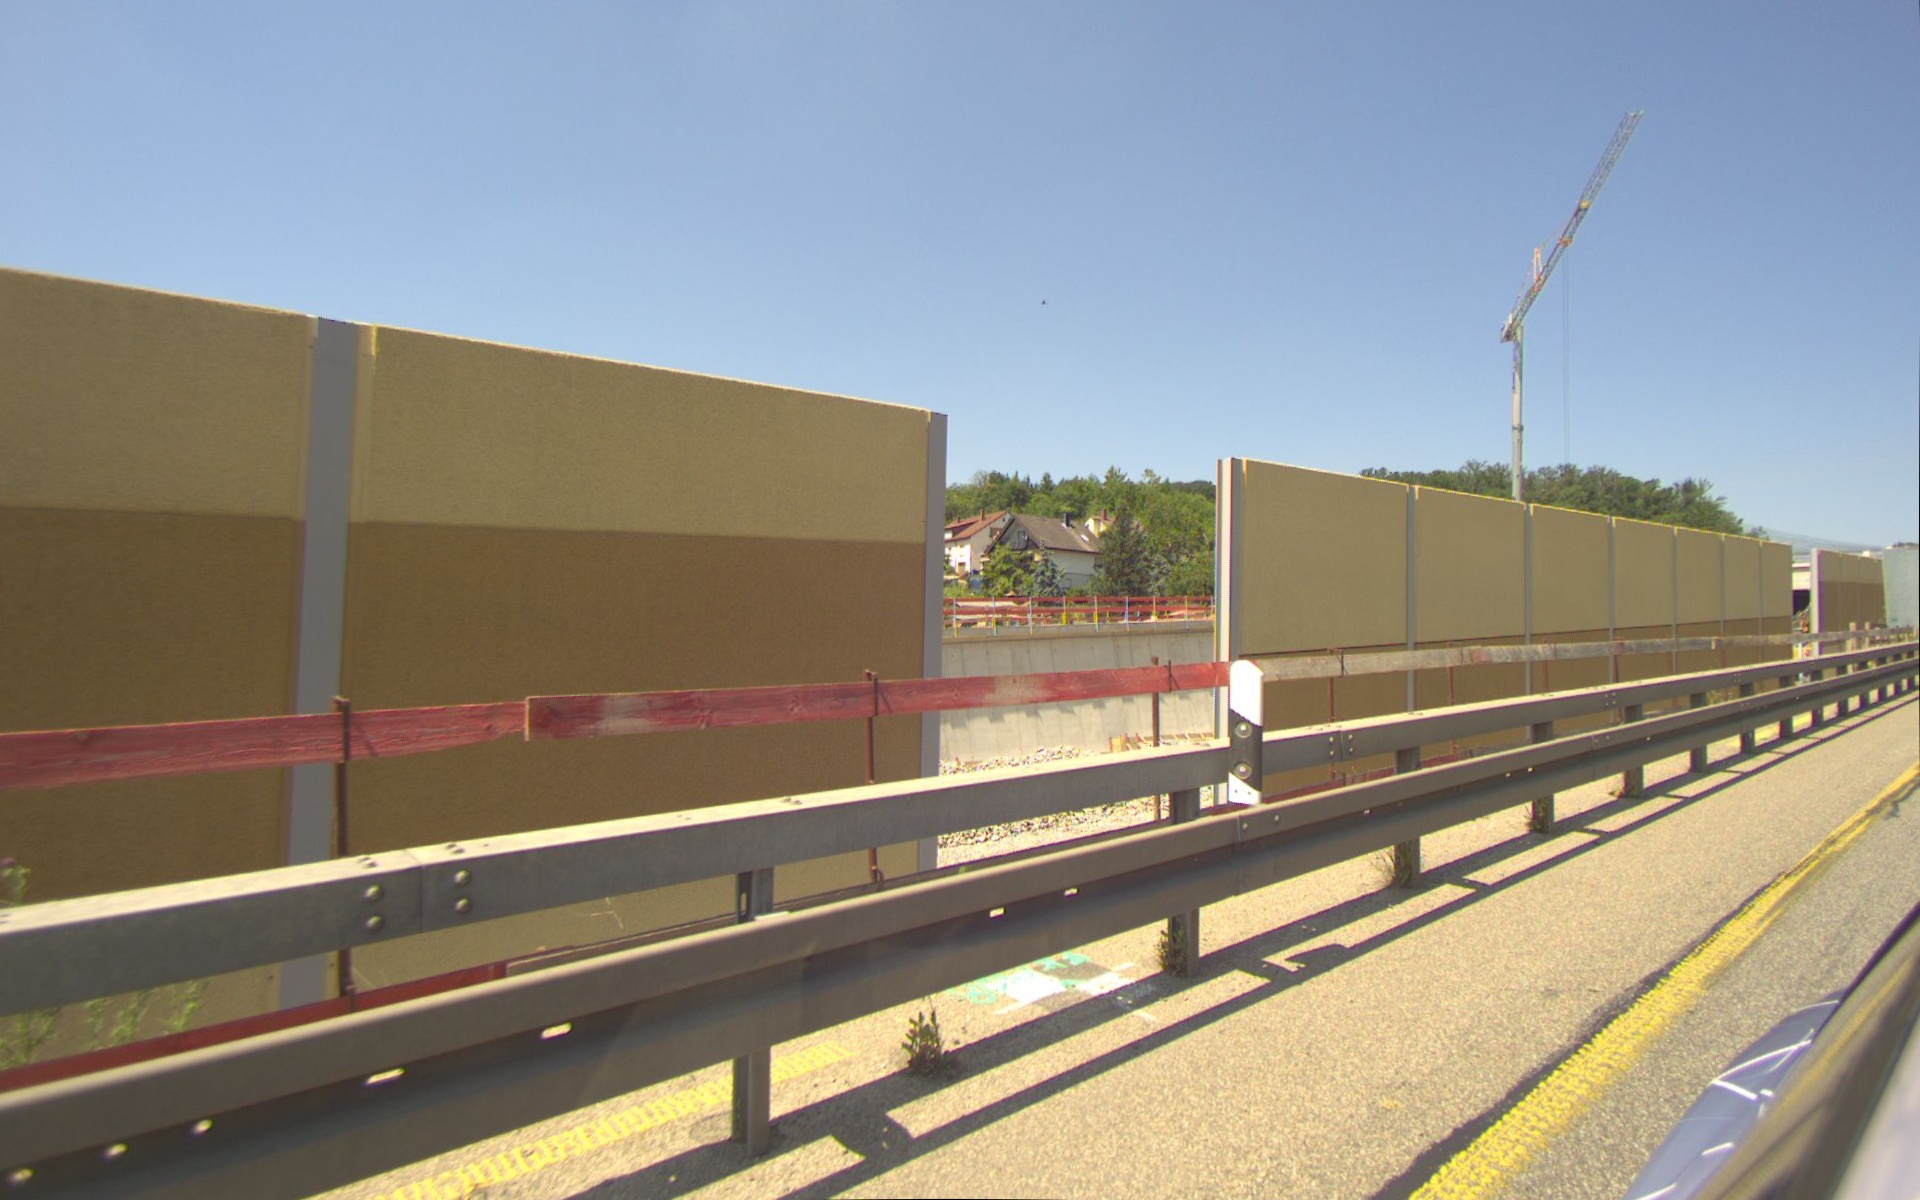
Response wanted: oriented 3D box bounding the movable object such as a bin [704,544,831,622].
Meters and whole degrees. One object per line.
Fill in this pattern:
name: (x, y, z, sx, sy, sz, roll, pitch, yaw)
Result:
movable object such as a bin: (-8.089, -0.670, 42.791, 4.831, 3.122, 2.201, 0, 0, -41)
